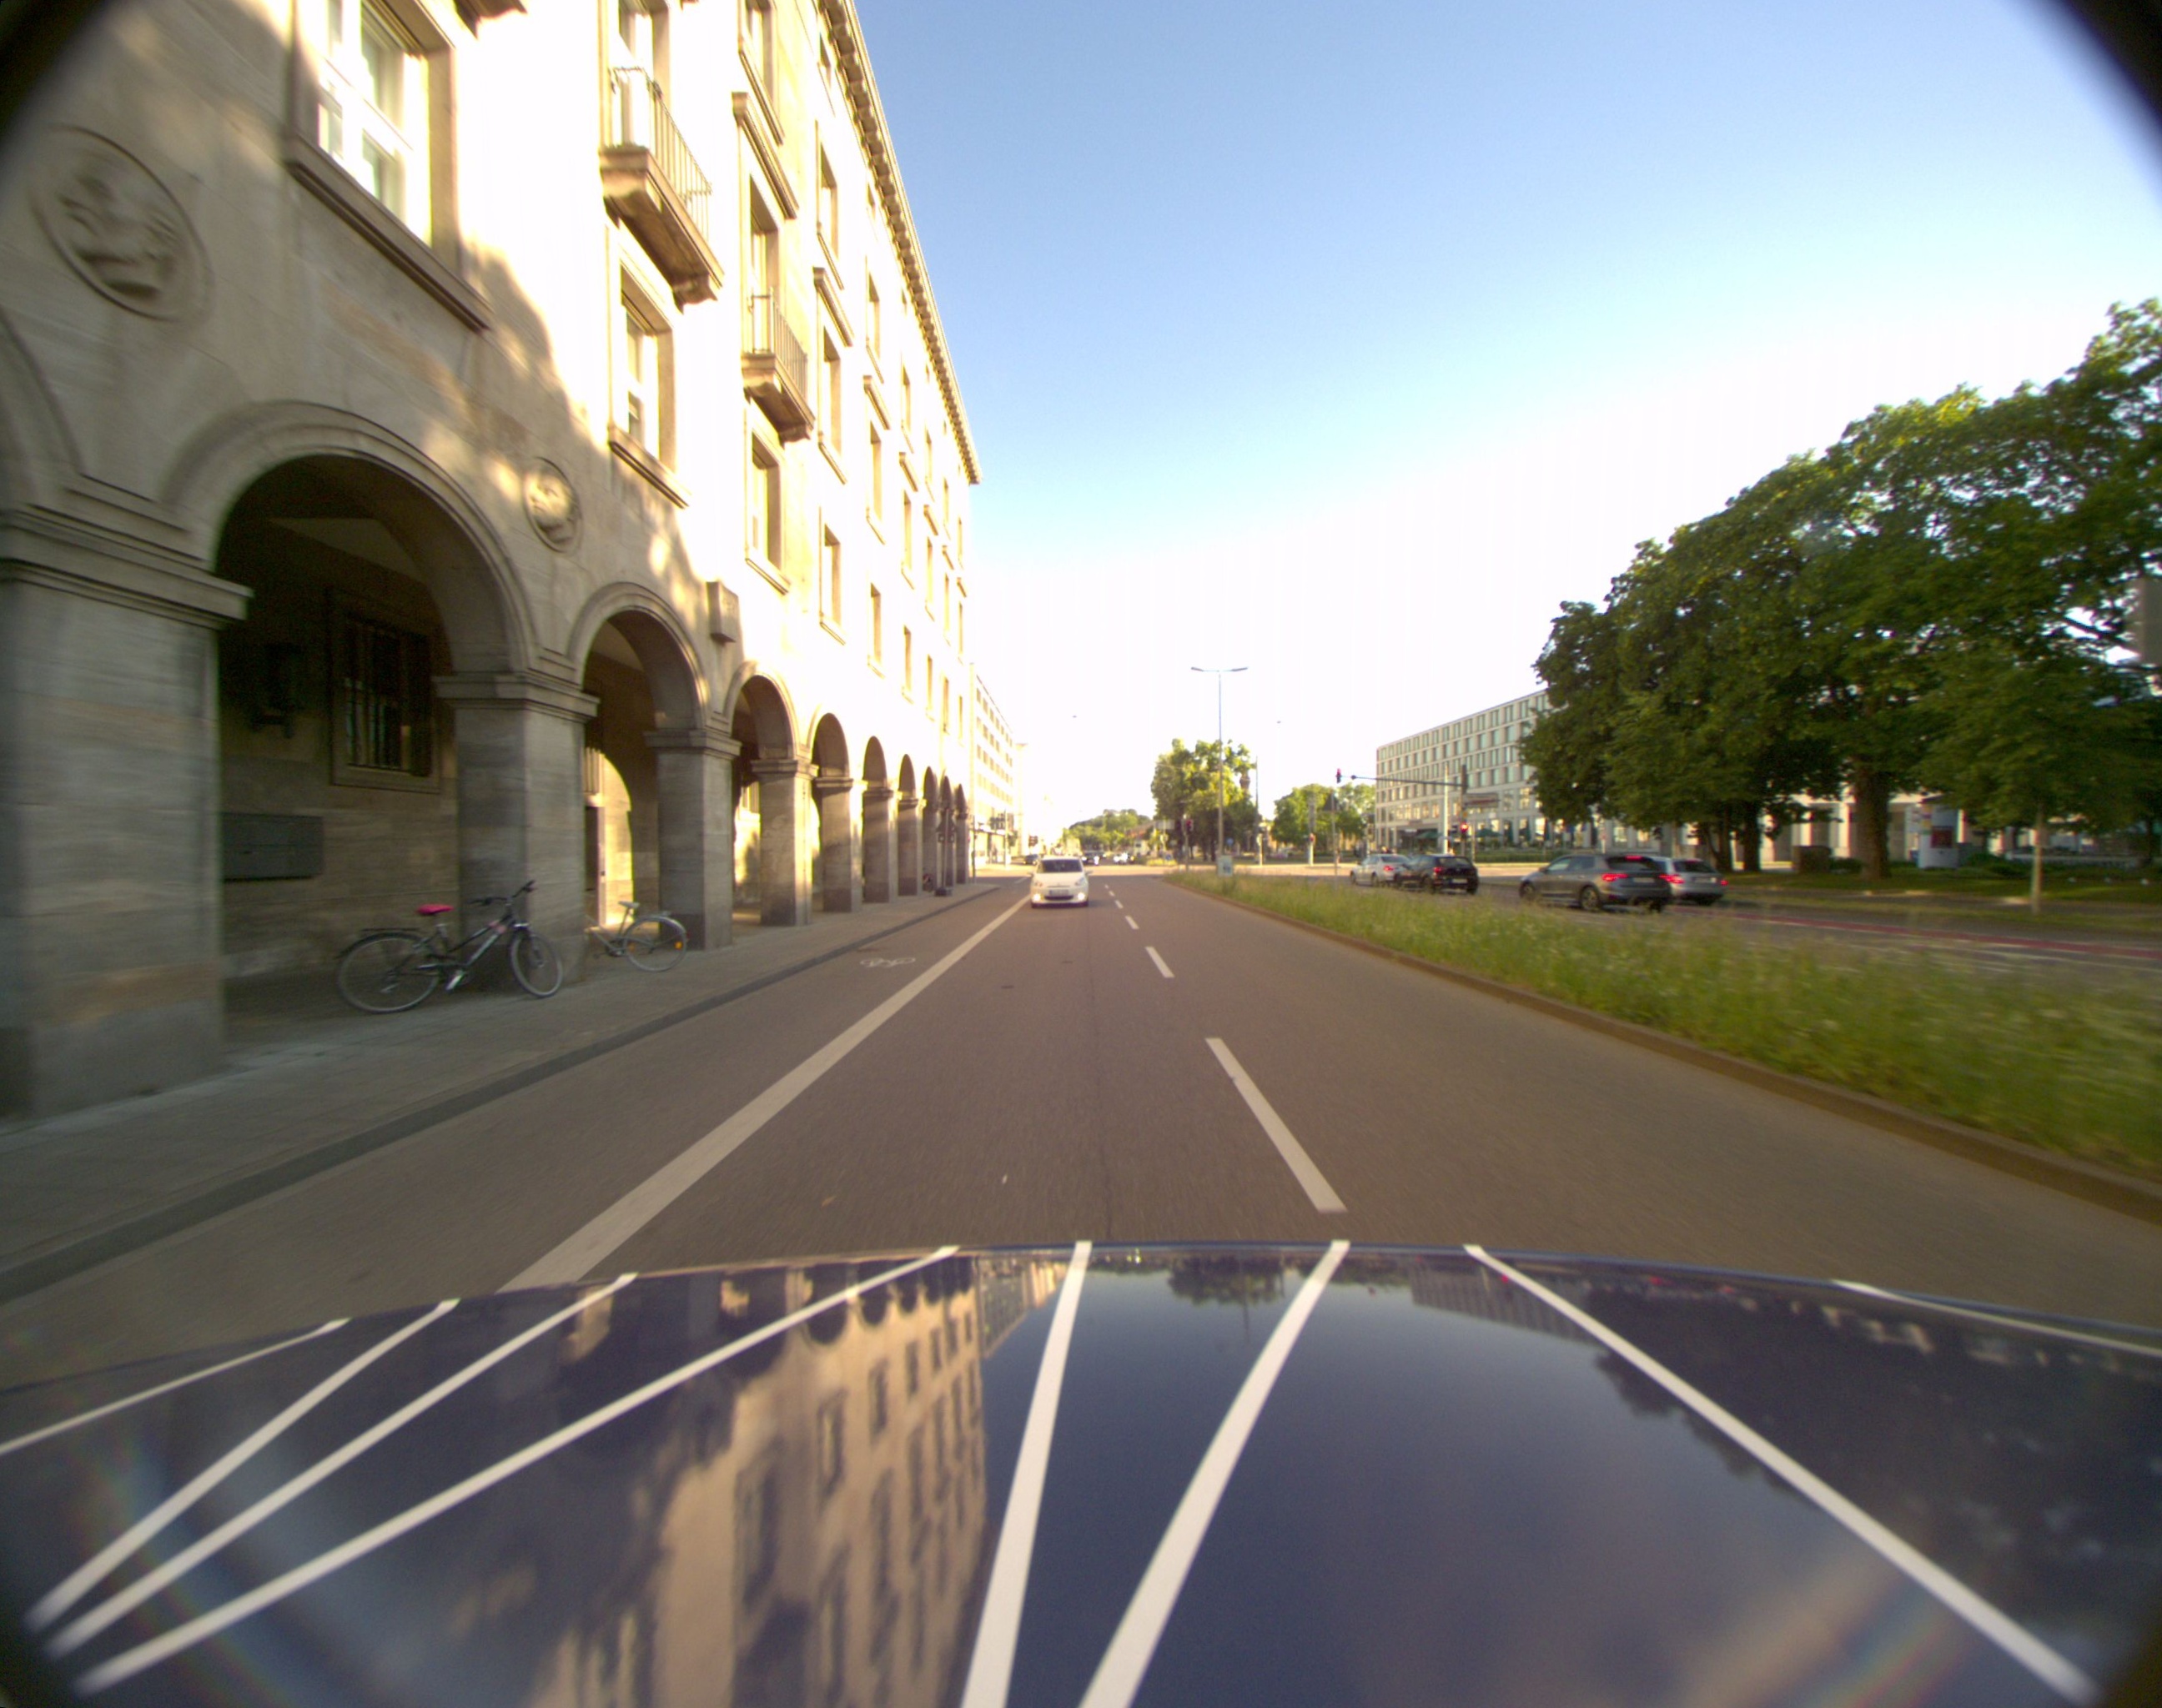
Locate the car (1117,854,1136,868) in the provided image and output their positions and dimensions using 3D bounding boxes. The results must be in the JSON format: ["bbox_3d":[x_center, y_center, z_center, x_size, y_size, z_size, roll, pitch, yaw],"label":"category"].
[{"bbox_3d":[5.443,0.858,90.999,1.998,1.564,4.549,0,0,1],"label":"car"}]

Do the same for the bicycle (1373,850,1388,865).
[{"bbox_3d":[24.329,0.297,61.709,0.844,1.223,2.018,0,1,30],"label":"bicycle"}]

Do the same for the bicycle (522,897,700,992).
[{"bbox_3d":[-5.544,1.051,9.043,1.714,1.044,0.527,1,1,-14],"label":"bicycle"}]

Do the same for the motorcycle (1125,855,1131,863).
[{"bbox_3d":[5.236,0.543,84.991,0.623,0.791,1.309,0,1,0],"label":"motorcycle"}]

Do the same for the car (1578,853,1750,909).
[{"bbox_3d":[18.049,0.769,23.872,1.938,1.517,4.587,1,0,1],"label":"car"}]

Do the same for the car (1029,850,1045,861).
[{"bbox_3d":[-6.345,0.245,110.402,1.998,1.564,4.549,0,1,1],"label":"car"}]

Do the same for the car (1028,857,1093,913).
[{"bbox_3d":[-0.535,0.848,22.699,1.678,1.455,3.765,-2,1,2],"label":"car"}]

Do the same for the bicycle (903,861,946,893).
[{"bbox_3d":[-5.919,0.860,28.770,1.708,1.126,0.665,2,1,41],"label":"bicycle"}]

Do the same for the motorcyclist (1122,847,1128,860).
[{"bbox_3d":[4.930,-0.070,85.168,0.607,1.438,0.736,0,1,-2],"label":"motorcyclist"}]

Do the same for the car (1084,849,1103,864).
[{"bbox_3d":[1.346,0.273,83.930,1.998,1.564,4.549,-1,0,1],"label":"car"}]

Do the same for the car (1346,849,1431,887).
[{"bbox_3d":[13.550,0.575,33.761,1.998,1.551,4.549,0,0,1],"label":"car"}]

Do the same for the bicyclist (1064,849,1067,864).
[{"bbox_3d":[-1.685,0.271,83.396,0.358,1.567,0.535,0,1,1],"label":"bicyclist"}]

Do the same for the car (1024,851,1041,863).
[{"bbox_3d":[-6.583,0.352,104.341,1.998,1.564,4.549,0,1,1],"label":"car"}]

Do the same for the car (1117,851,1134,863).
[{"bbox_3d":[5.813,0.404,100.143,1.998,1.564,4.549,0,1,1],"label":"car"}]

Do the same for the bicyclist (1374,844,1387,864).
[{"bbox_3d":[24.304,0.011,61.670,0.850,1.610,0.974,0,1,30],"label":"bicyclist"}]

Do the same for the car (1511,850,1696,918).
[{"bbox_3d":[13.181,0.685,19.519,1.998,1.555,4.060,0,1,1],"label":"car"}]

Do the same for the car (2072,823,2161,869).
[{"bbox_3d":[69.637,-0.558,50.186,5.086,2.935,2.599,0,1,-2],"label":"car"}]

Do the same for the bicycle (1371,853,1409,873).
[{"bbox_3d":[19.419,0.576,47.787,2.019,1.233,0.778,0,3,0],"label":"bicycle"}]

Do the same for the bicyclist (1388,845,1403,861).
[{"bbox_3d":[27.652,-0.072,66.815,0.972,1.354,0.826,0,1,1],"label":"bicyclist"}]

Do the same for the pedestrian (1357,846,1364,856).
[{"bbox_3d":[41.809,-0.479,113.853,0.784,1.517,0.762,0,1,1],"label":"pedestrian"}]

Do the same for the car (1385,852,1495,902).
[{"bbox_3d":[13.146,0.772,28.194,1.998,1.666,4.549,0,0,1],"label":"car"}]

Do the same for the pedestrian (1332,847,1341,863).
[{"bbox_3d":[25.270,0.095,75.145,0.623,1.517,0.603,0,1,-4],"label":"pedestrian"}]

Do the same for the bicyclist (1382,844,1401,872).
[{"bbox_3d":[19.499,0.260,47.772,0.838,1.734,0.754,0,3,0],"label":"bicyclist"}]

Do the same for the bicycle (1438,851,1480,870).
[{"bbox_3d":[24.359,0.416,49.001,2.310,1.232,0.778,-1,1,0],"label":"bicycle"}]

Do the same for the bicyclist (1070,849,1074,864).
[{"bbox_3d":[-0.975,0.288,83.539,0.453,1.567,0.535,0,1,1],"label":"bicyclist"}]

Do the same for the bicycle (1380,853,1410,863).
[{"bbox_3d":[27.588,0.370,66.803,2.334,0.846,0.843,0,1,0],"label":"bicycle"}]

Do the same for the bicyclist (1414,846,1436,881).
[{"bbox_3d":[16.535,0.456,36.534,0.782,1.669,0.839,1,1,15],"label":"bicyclist"}]

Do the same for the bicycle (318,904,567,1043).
[{"bbox_3d":[-5.899,1.042,7.097,0.610,1.044,1.717,2,1,44],"label":"bicycle"}]

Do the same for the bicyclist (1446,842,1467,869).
[{"bbox_3d":[24.211,0.067,48.999,0.924,1.681,0.775,-1,3,0],"label":"bicyclist"}]
